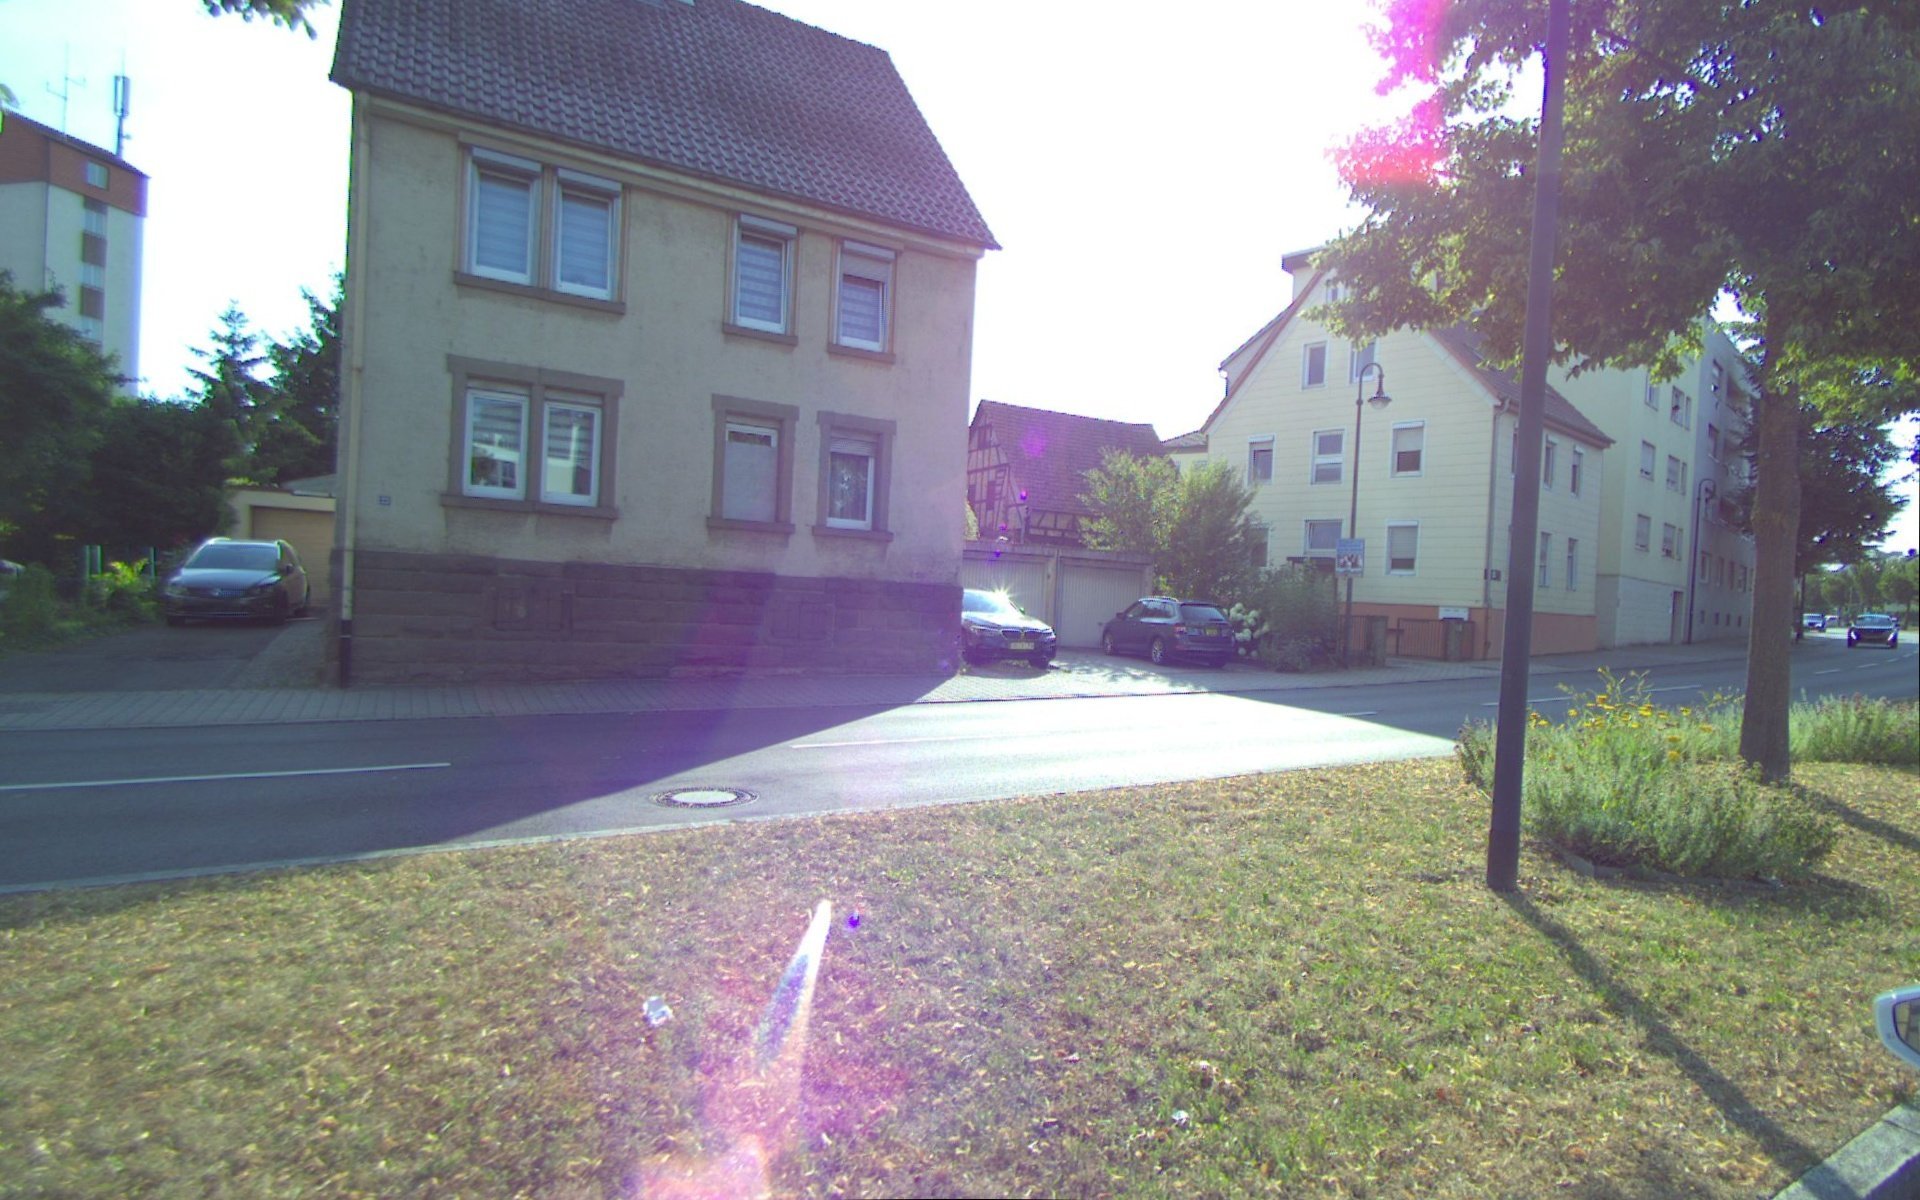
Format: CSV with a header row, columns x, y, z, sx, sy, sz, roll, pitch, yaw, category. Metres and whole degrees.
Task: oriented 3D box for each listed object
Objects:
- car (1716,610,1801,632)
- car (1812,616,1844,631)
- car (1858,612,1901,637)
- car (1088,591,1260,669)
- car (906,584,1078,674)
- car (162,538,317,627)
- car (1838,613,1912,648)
x,y,z,sx,sy,sz,roll,pitch,yaw,category
59.002,1.553,74.234,4.805,1.456,1.906,1,0,43,car
110.583,2.950,127.983,2.184,1.792,4.446,2,0,29,car
59.302,1.592,64.768,3.754,1.506,1.592,1,0,-41,car
4.782,0.620,23.154,1.916,1.506,4.342,1,1,-18,car
0.501,0.510,20.234,1.981,1.506,4.340,2,1,-20,car
-13.708,-0.347,19.323,1.663,1.506,3.685,2,1,-24,car
44.637,1.466,48.996,4.286,1.506,1.925,1,3,-38,car
